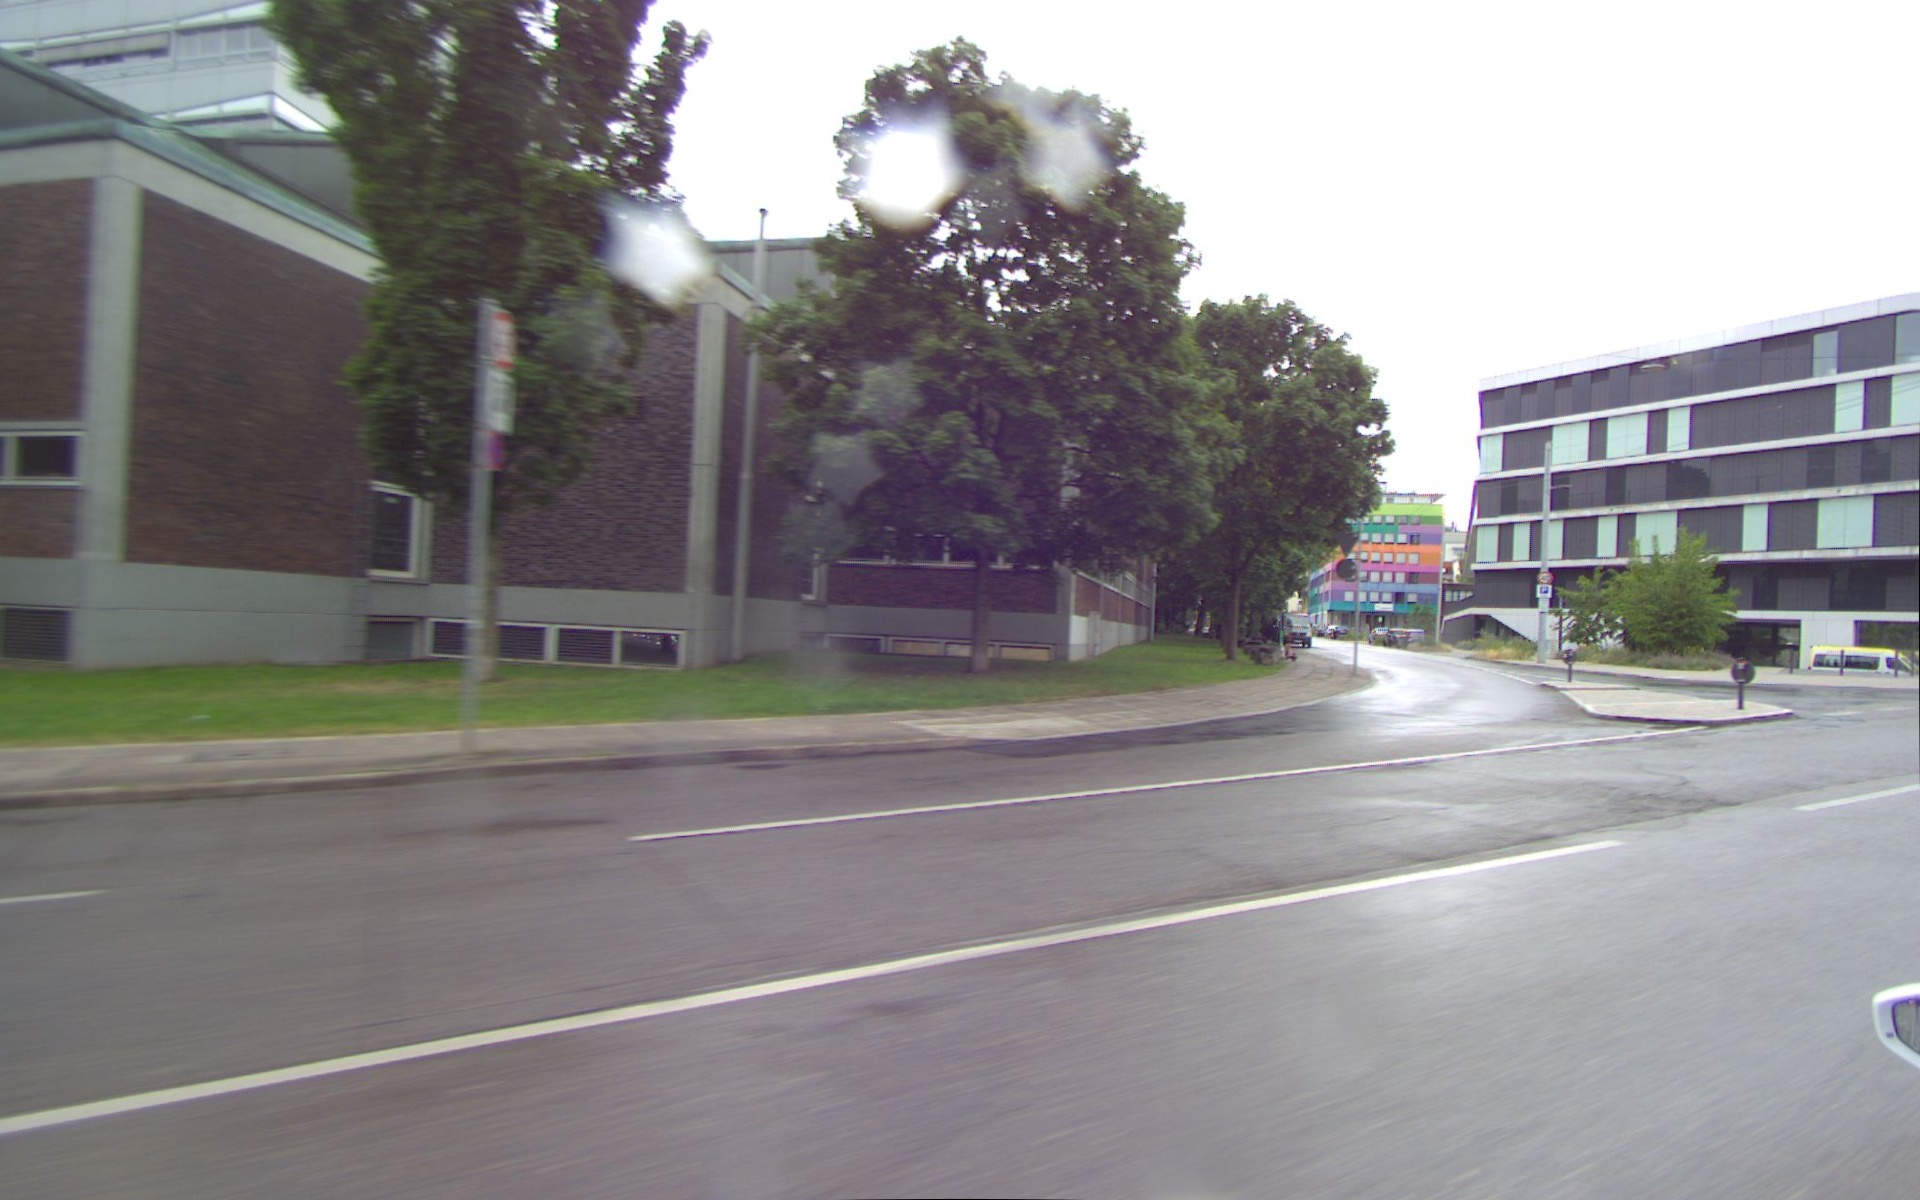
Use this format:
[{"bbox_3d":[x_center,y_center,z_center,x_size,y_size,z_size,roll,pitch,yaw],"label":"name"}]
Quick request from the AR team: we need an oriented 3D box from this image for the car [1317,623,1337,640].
[{"bbox_3d":[44.817,3.839,122.716,1.960,1.864,4.002,1,0,15],"label":"car"}]

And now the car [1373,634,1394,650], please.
[{"bbox_3d":[37.224,3.681,88.351,1.452,1.258,3.401,2,0,18],"label":"car"}]

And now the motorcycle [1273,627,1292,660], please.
[{"bbox_3d":[11.672,1.570,36.384,0.404,1.139,1.171,2,-1,7],"label":"motorcycle"}]

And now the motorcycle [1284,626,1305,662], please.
[{"bbox_3d":[11.455,1.493,34.448,0.404,1.201,1.228,2,0,7],"label":"motorcycle"}]

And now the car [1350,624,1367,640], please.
[{"bbox_3d":[40.913,3.298,103.259,1.413,1.514,3.640,1,-1,18],"label":"car"}]

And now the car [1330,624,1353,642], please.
[{"bbox_3d":[42.946,3.723,113.043,1.960,1.864,4.002,1,0,15],"label":"car"}]

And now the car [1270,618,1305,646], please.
[{"bbox_3d":[27.042,2.616,83.019,2.125,2.124,4.841,2,0,11],"label":"car"}]

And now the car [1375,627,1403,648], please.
[{"bbox_3d":[36.017,3.153,84.371,1.770,1.609,3.679,2,0,18],"label":"car"}]

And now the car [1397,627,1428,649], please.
[{"bbox_3d":[33.335,2.803,74.037,1.635,1.469,3.869,2,0,18],"label":"car"}]

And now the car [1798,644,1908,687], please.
[{"bbox_3d":[52.733,3.810,59.402,1.912,2.203,4.559,2,0,-35],"label":"car"}]

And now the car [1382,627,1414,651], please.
[{"bbox_3d":[34.839,3.088,79.992,1.883,1.762,4.001,2,0,18],"label":"car"}]

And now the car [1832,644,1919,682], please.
[{"bbox_3d":[56.274,3.815,61.286,1.579,2.059,4.321,2,0,-30],"label":"car"}]

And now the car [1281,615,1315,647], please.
[{"bbox_3d":[23.383,2.091,69.633,2.035,2.070,4.281,2,0,16],"label":"car"}]

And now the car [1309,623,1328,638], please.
[{"bbox_3d":[46.363,3.931,129.885,1.960,1.864,4.002,1,0,15],"label":"car"}]
